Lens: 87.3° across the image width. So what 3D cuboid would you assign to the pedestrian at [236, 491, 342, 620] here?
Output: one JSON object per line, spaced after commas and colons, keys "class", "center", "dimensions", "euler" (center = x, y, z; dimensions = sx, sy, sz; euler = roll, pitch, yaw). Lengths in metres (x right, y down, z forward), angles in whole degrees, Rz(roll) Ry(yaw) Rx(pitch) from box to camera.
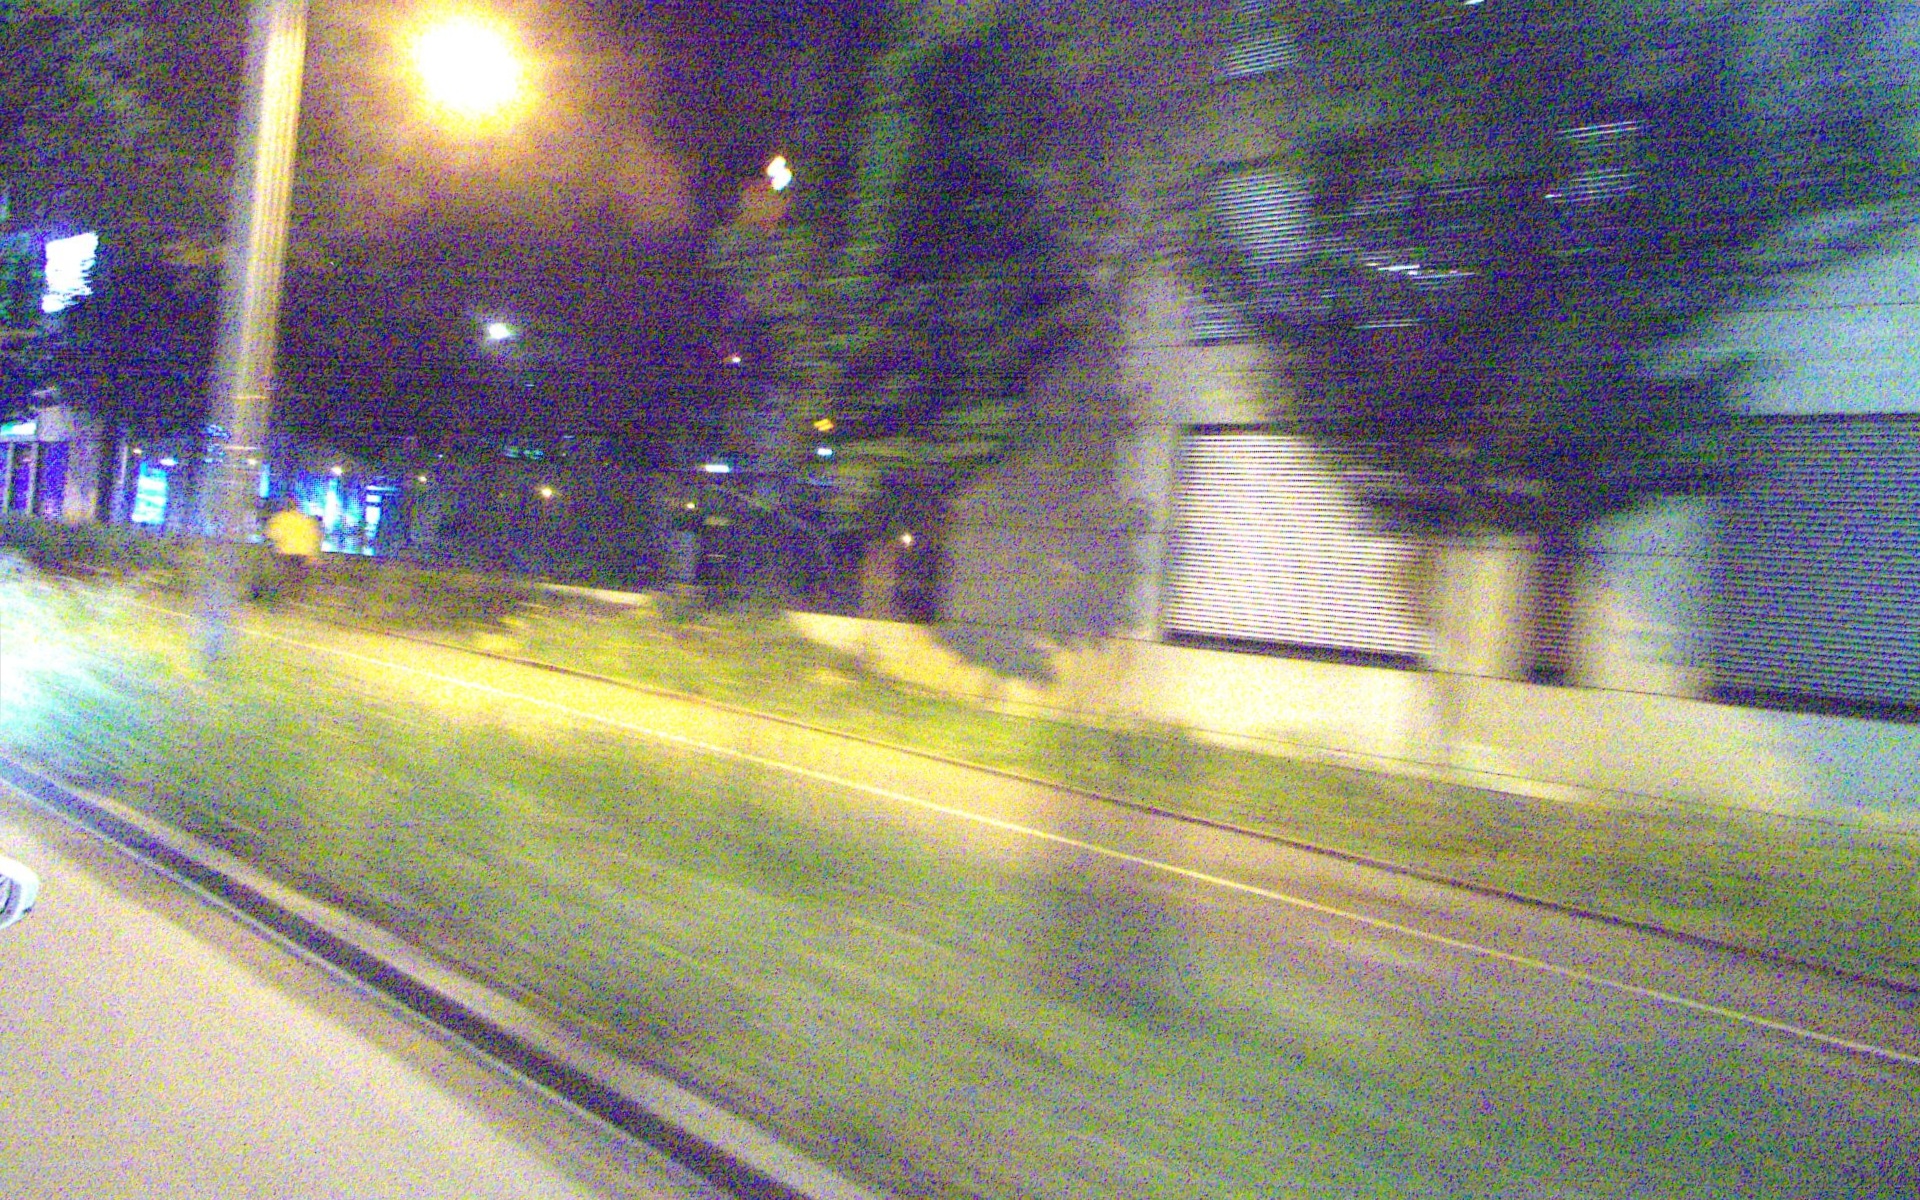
{"class": "pedestrian", "center": [-9.637, -0.628, 14.463], "dimensions": [0.941, 1.729, 0.853], "euler": [6, 2, 30]}
